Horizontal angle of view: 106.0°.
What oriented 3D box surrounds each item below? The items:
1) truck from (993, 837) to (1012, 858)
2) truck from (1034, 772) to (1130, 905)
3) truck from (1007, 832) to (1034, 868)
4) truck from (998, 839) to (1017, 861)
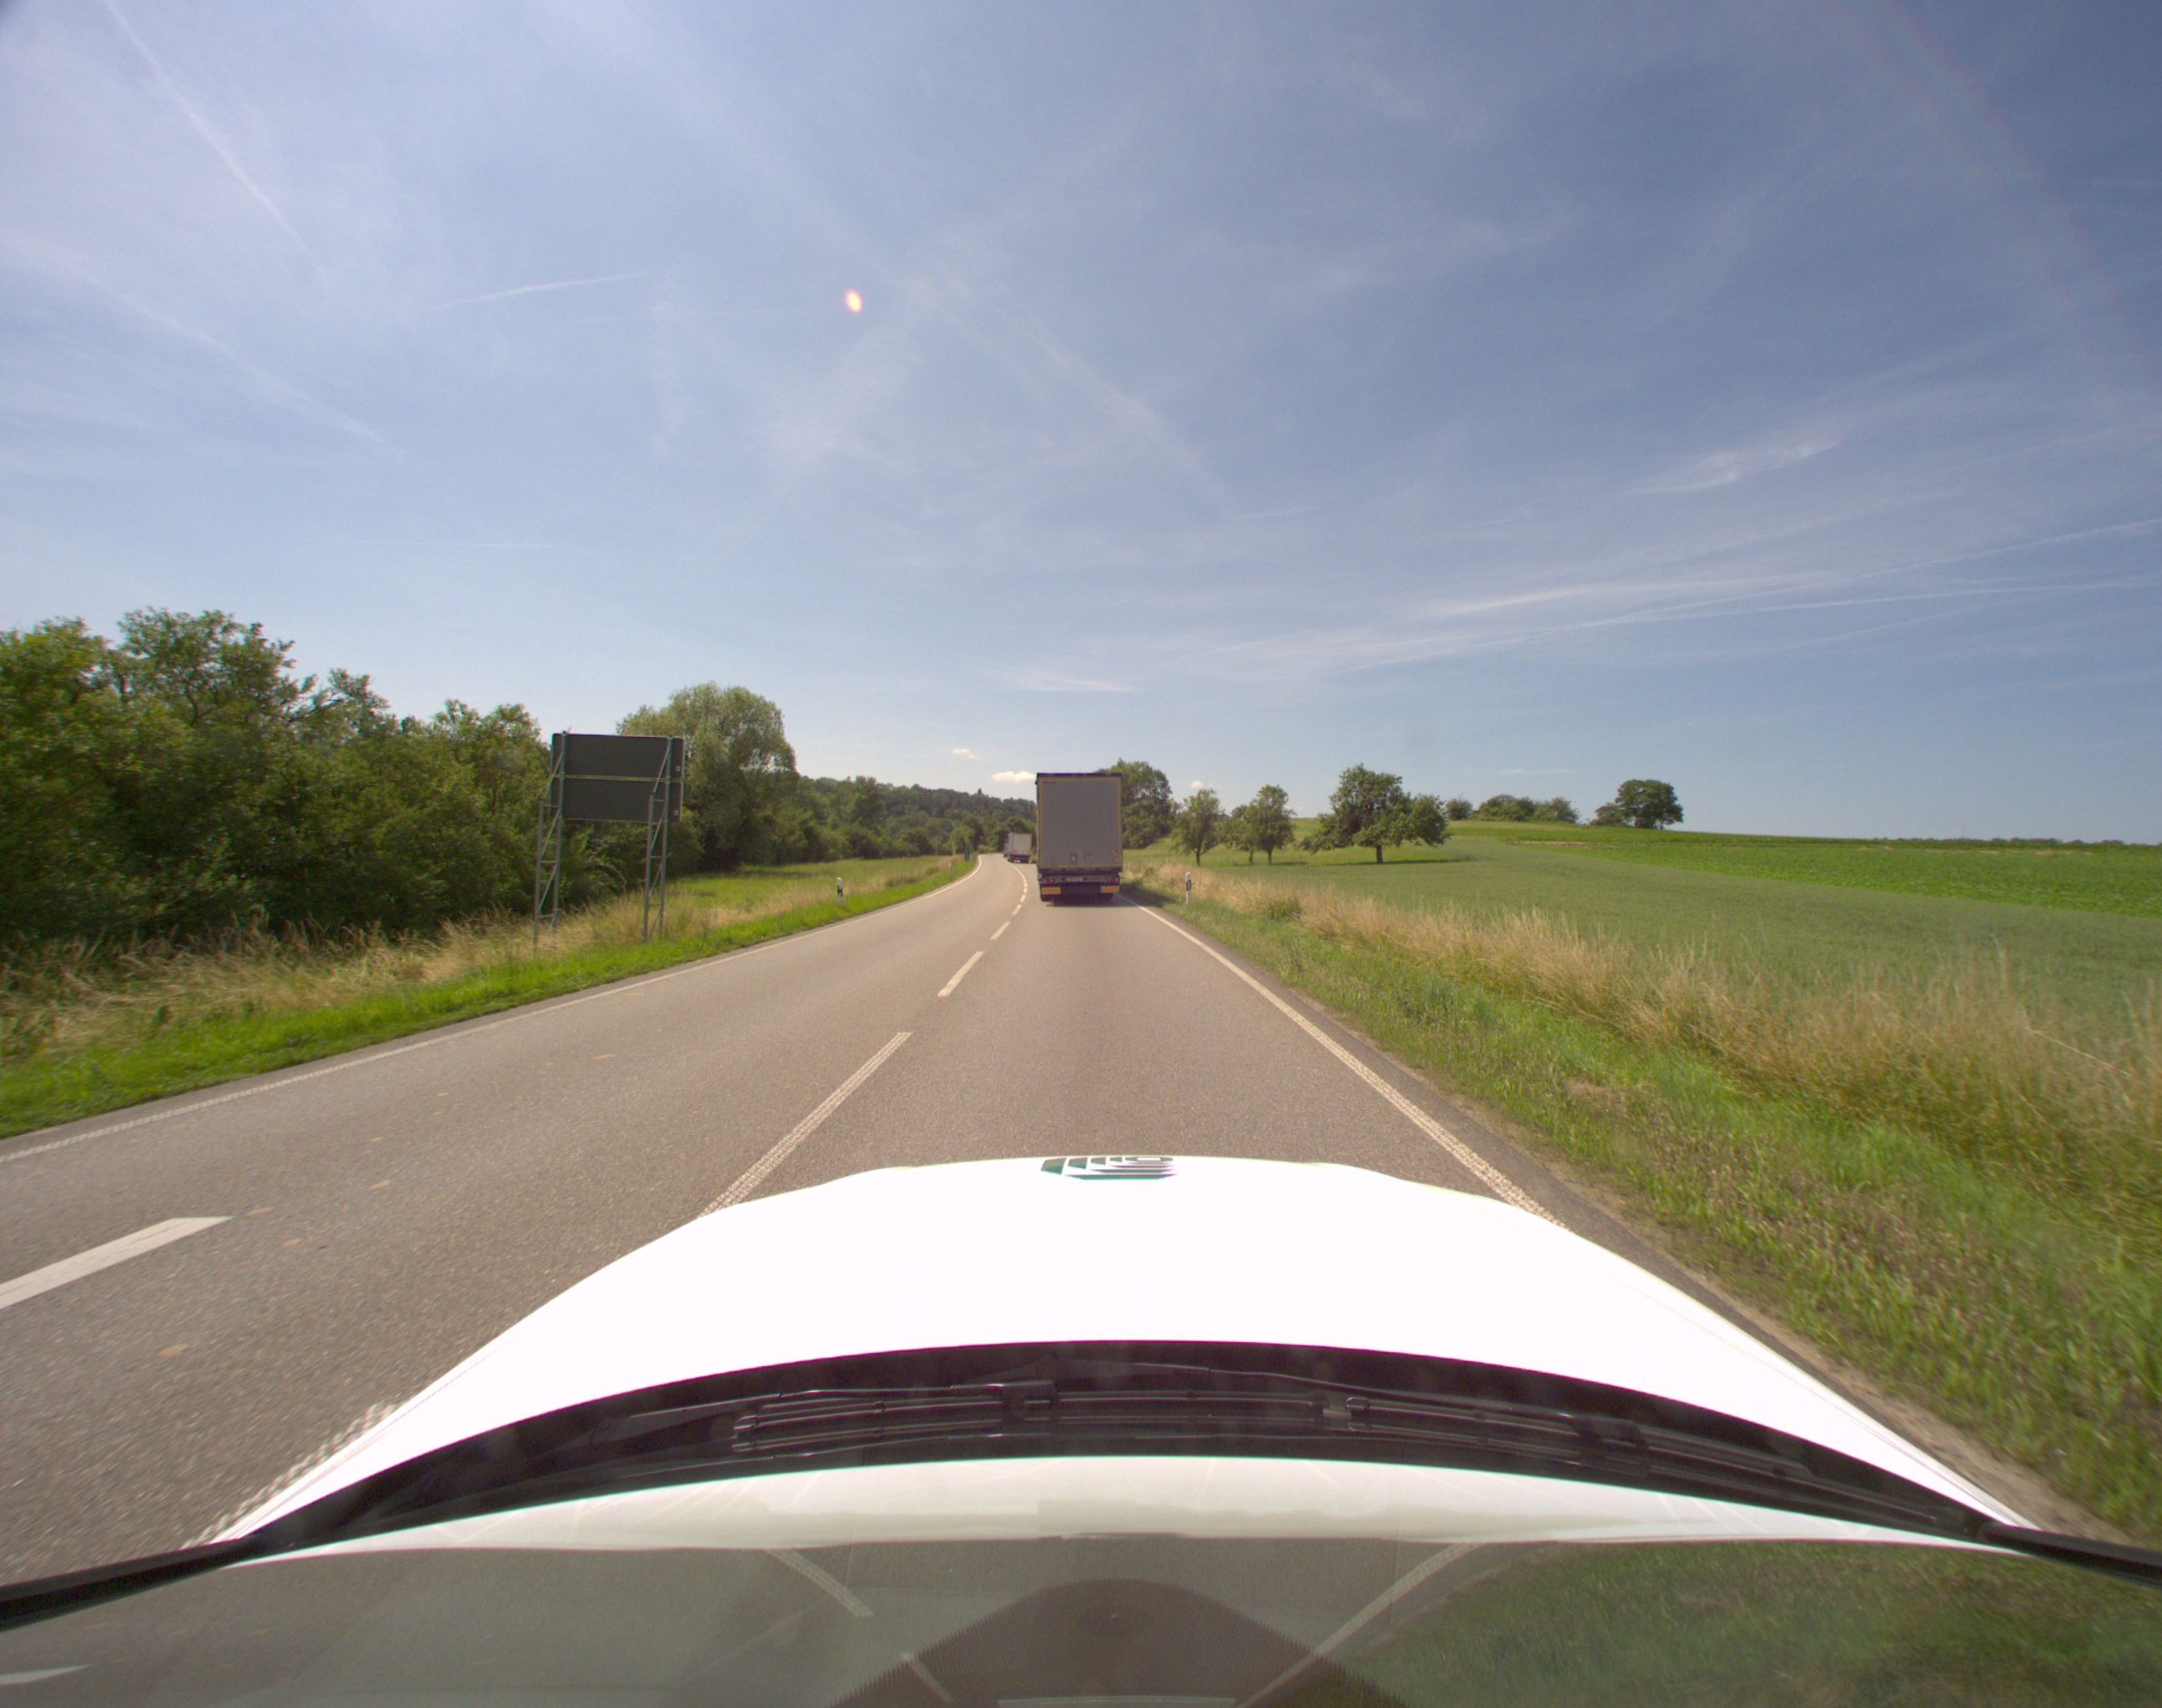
[{"bbox_3d":[-18.646,-1.488,193.125,3.529,4.241,13.360,2,-2,-9],"label":"truck"},{"bbox_3d":[-0.242,-0.477,29.068,2.802,3.946,9.579,-1,0,-3],"label":"truck"},{"bbox_3d":[-8.694,-0.494,114.609,2.958,4.584,16.275,1,-1,-7],"label":"truck"},{"bbox_3d":[-15.712,-0.741,173.983,3.632,4.130,13.069,2,-2,-5],"label":"truck"}]
